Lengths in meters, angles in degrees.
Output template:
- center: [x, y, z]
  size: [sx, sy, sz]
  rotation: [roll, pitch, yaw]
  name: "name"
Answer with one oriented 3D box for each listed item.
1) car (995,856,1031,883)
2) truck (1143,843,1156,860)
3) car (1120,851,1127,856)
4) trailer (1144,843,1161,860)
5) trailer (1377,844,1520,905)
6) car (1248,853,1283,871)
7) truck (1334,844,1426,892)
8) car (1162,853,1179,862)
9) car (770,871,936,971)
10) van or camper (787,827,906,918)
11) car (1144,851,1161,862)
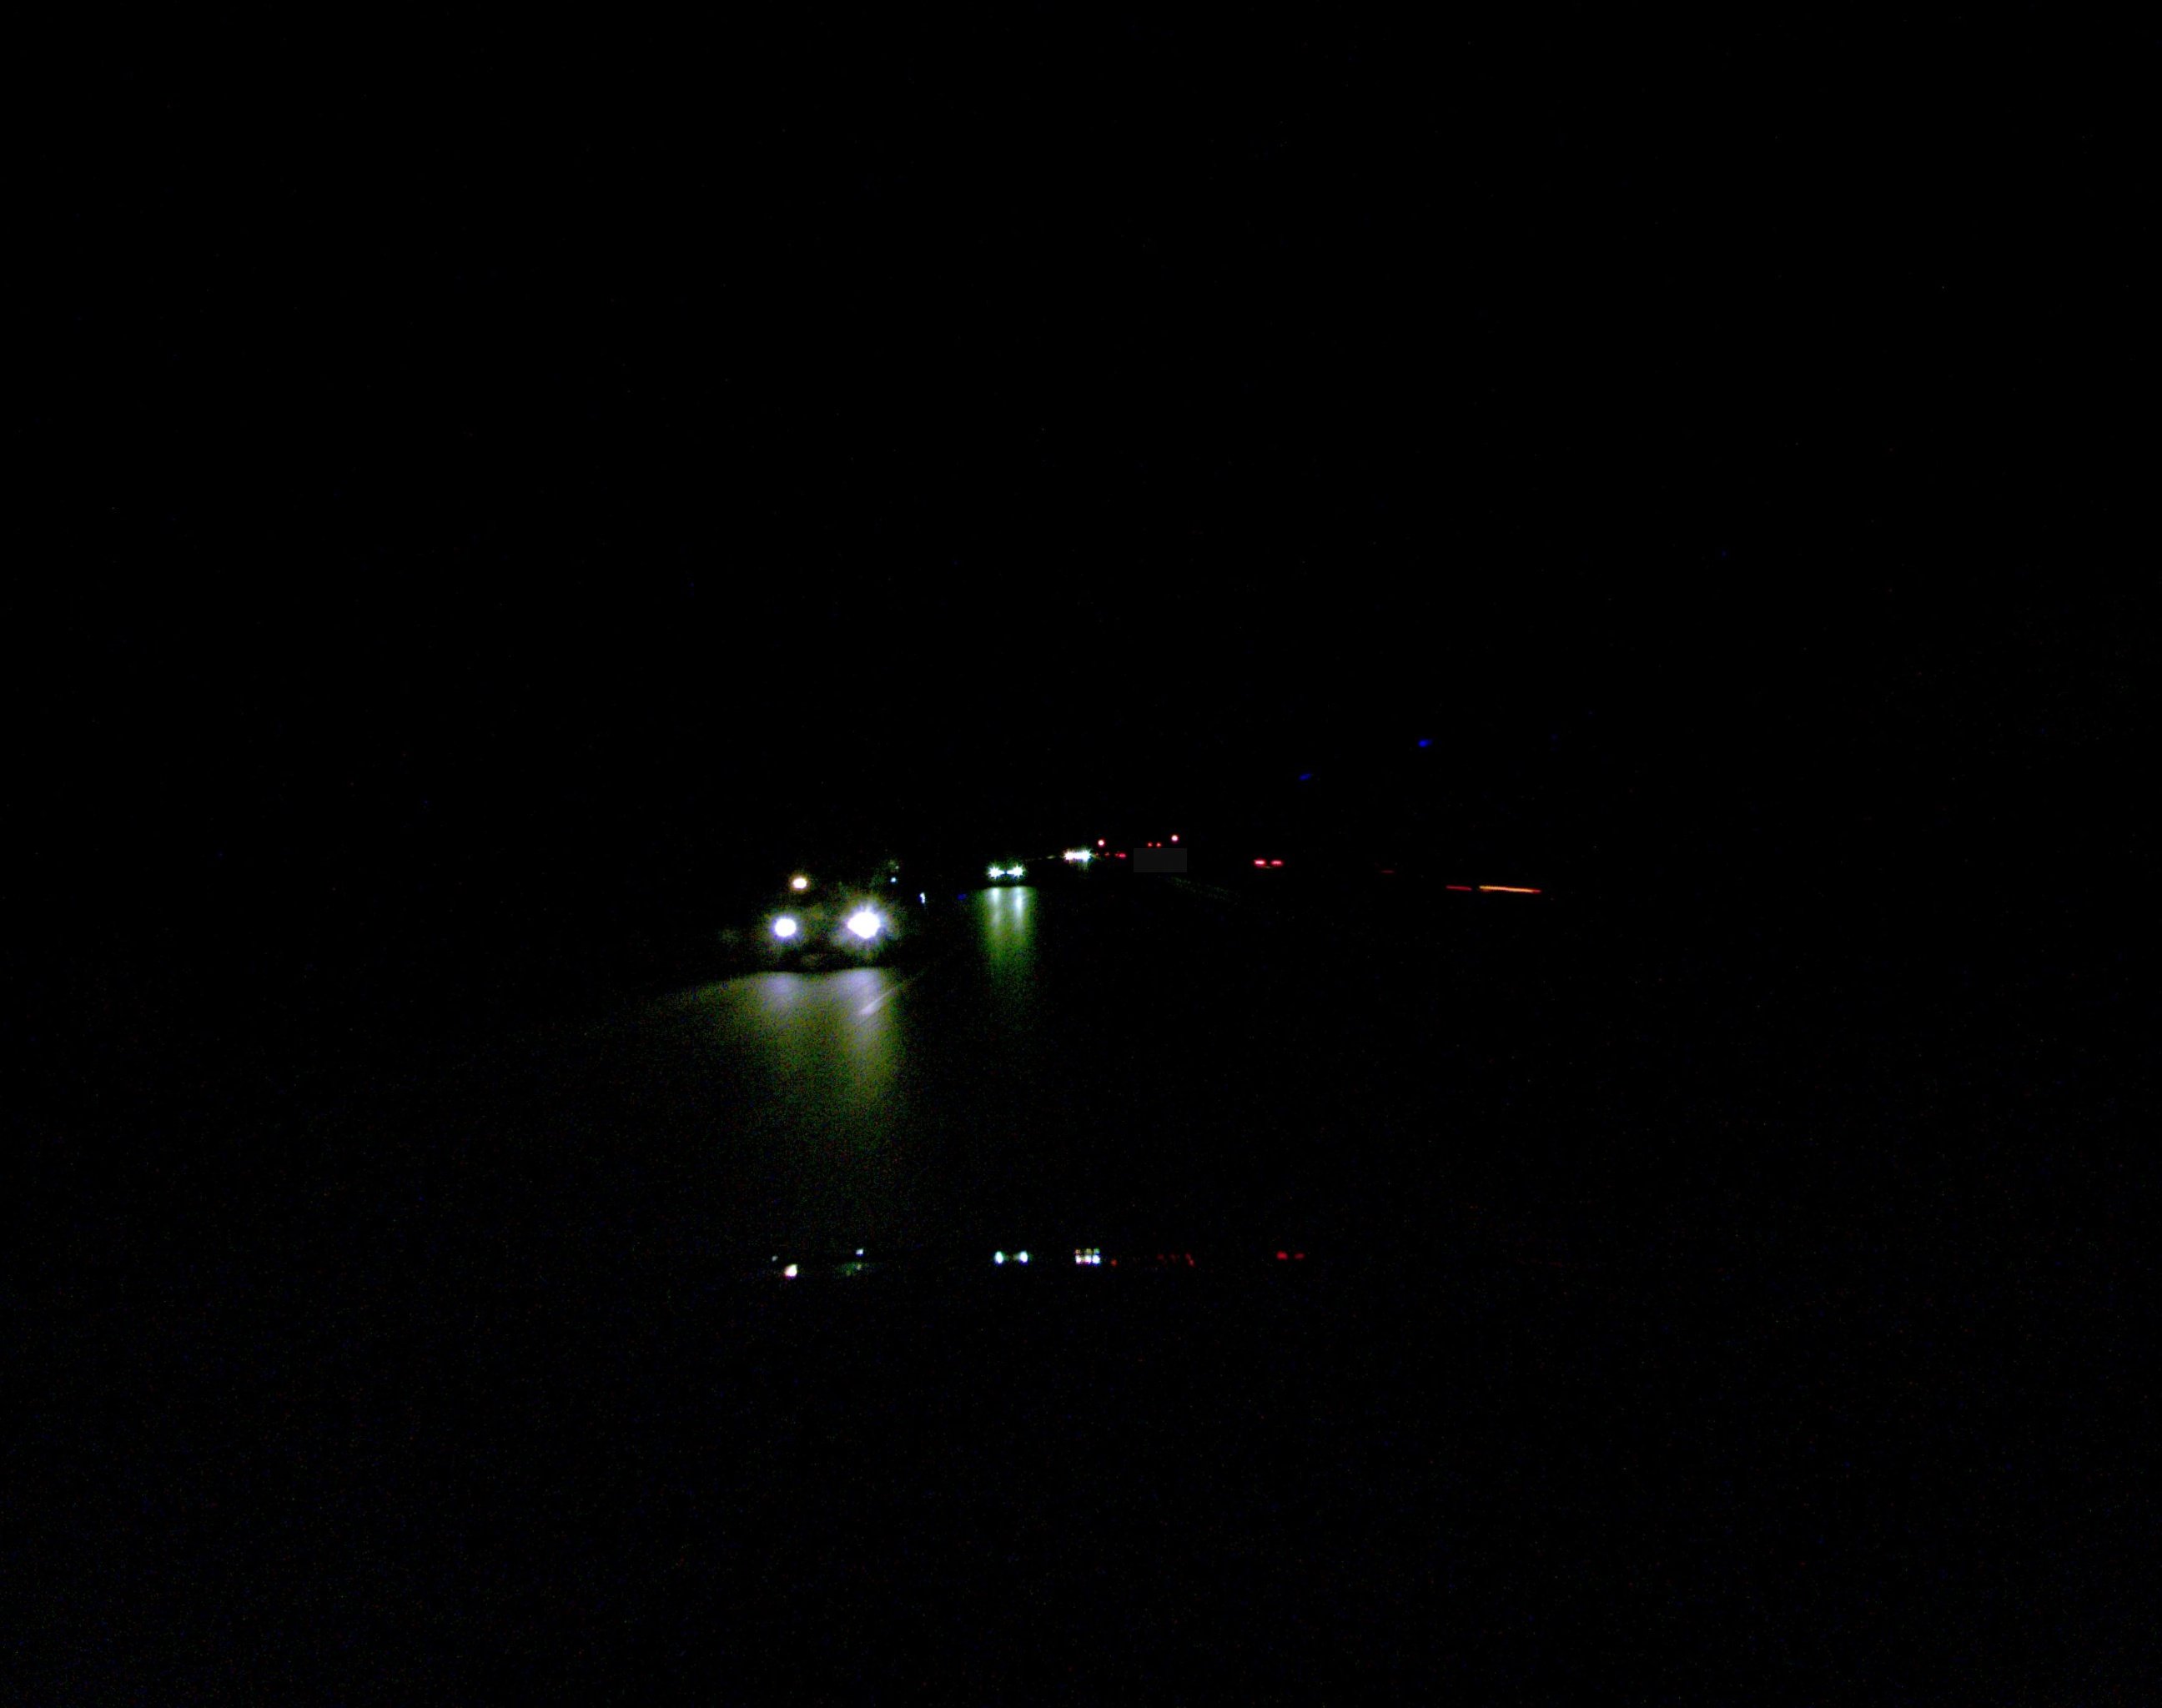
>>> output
- center: [-4.099, 0.913, 46.307]
  size: [1.795, 1.532, 4.225]
  rotation: [-1, 0, 0]
  name: "car"
- center: [17.724, -0.715, 195.601]
  size: [2.761, 4.188, 5.825]
  rotation: [1, 1, 0]
  name: "truck"
- center: [14.882, -0.192, 266.574]
  size: [1.999, 1.453, 4.690]
  rotation: [1, 1, -2]
  name: "car"
- center: [17.722, -0.677, 189.017]
  size: [2.867, 4.152, 13.902]
  rotation: [1, 1, 0]
  name: "trailer"
- center: [12.771, 0.630, 27.070]
  size: [1.998, 1.928, 6.622]
  rotation: [0, 0, 1]
  name: "trailer"
- center: [16.731, 0.698, 69.100]
  size: [1.999, 1.476, 4.800]
  rotation: [0, 0, 0]
  name: "car"
- center: [12.851, 0.531, 33.076]
  size: [1.998, 1.931, 5.240]
  rotation: [0, 1, 1]
  name: "truck"
- center: [13.998, 0.488, 119.728]
  size: [1.998, 1.386, 5.705]
  rotation: [1, 0, 0]
  name: "car"
- center: [-3.931, 1.083, 13.871]
  size: [1.690, 1.405, 4.225]
  rotation: [-2, 0, 0]
  name: "car"
- center: [-8.097, 0.581, 27.142]
  size: [2.213, 2.755, 6.803]
  rotation: [-2, 0, -2]
  name: "van or camper"
- center: [10.213, 0.344, 108.221]
  size: [1.998, 1.453, 4.900]
  rotation: [1, 0, 1]
  name: "car"
